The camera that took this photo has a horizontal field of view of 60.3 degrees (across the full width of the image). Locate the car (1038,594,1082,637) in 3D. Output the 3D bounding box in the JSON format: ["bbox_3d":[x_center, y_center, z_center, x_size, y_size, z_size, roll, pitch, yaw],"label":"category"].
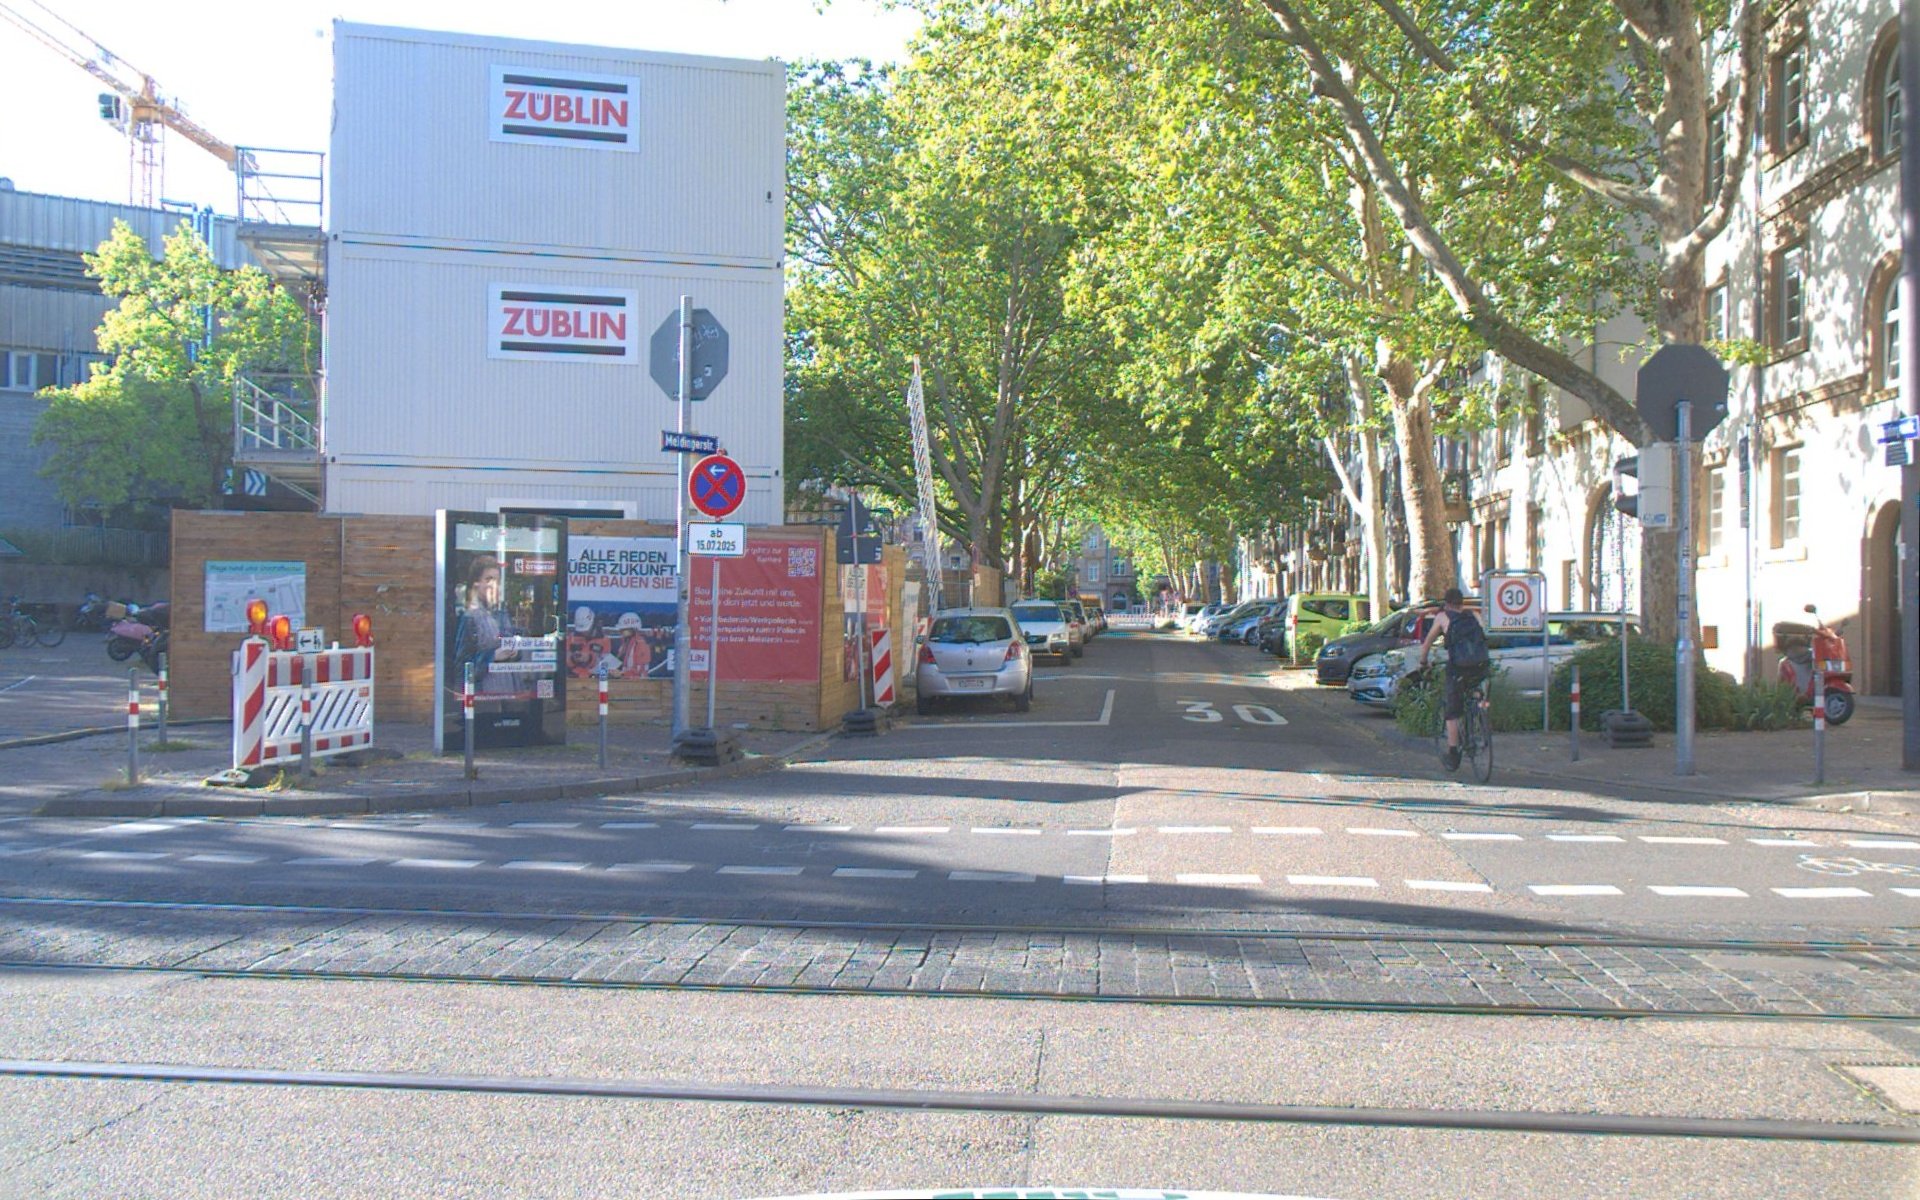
[{"bbox_3d":[3.867,0.582,63.834,1.630,1.590,4.618,0,0,4],"label":"car"}]

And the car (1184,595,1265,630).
[{"bbox_3d":[14.792,0.686,92.616,4.367,1.931,1.729,0,0,4],"label":"car"}]

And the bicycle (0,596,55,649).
[{"bbox_3d":[-22.132,0.489,37.579,3.013,1.167,0.822,0,0,14],"label":"bicycle"}]

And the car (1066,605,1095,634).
[{"bbox_3d":[6.898,1.109,94.871,1.630,1.590,4.221,0,0,4],"label":"car"}]

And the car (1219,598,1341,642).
[{"bbox_3d":[12.084,0.740,62.723,4.367,1.598,1.729,0,0,4],"label":"car"}]

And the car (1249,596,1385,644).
[{"bbox_3d":[12.265,0.688,56.998,4.367,1.598,1.729,0,0,4],"label":"car"}]

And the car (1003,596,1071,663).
[{"bbox_3d":[1.985,0.708,41.680,1.630,1.590,4.002,0,0,4],"label":"car"}]

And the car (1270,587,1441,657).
[{"bbox_3d":[10.900,0.594,45.776,4.368,1.868,1.729,0,0,4],"label":"car"}]

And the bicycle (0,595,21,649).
[{"bbox_3d":[-22.373,0.472,36.631,3.013,1.167,0.822,0,0,14],"label":"bicycle"}]

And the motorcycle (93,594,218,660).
[{"bbox_3d":[-15.918,0.524,32.758,2.183,1.279,0.537,0,1,-33],"label":"motorcycle"}]

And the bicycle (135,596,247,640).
[{"bbox_3d":[-21.469,0.500,46.181,3.013,1.167,0.822,0,0,14],"label":"bicycle"}]

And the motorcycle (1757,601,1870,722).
[{"bbox_3d":[10.048,0.694,19.528,0.503,1.356,1.764,0,0,3],"label":"motorcycle"}]

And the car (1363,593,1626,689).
[{"bbox_3d":[9.835,0.737,30.675,4.367,1.700,1.729,0,0,4],"label":"car"}]

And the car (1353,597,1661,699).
[{"bbox_3d":[8.602,0.739,26.314,4.367,1.527,1.729,0,0,4],"label":"car"}]

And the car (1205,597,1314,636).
[{"bbox_3d":[12.594,0.686,69.800,4.367,1.598,1.729,0,0,4],"label":"car"}]

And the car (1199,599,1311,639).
[{"bbox_3d":[12.002,0.768,67.525,4.367,1.598,1.729,0,0,4],"label":"car"}]

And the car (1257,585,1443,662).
[{"bbox_3d":[9.800,0.589,41.797,4.368,1.868,1.729,0,0,4],"label":"car"}]

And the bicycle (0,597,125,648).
[{"bbox_3d":[-21.599,0.527,39.651,3.013,1.167,0.822,0,0,14],"label":"bicycle"}]

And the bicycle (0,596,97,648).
[{"bbox_3d":[-21.774,0.512,38.729,3.013,1.167,0.822,0,0,14],"label":"bicycle"}]

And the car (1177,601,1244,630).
[{"bbox_3d":[16.989,1.044,112.111,4.367,1.931,1.729,0,0,4],"label":"car"}]

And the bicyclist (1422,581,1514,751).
[{"bbox_3d":[4.785,0.609,15.614,0.662,1.539,0.669,2,0,5],"label":"bicyclist"}]

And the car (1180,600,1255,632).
[{"bbox_3d":[15.542,0.958,100.011,4.367,1.931,1.729,0,0,4],"label":"car"}]

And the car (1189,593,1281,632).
[{"bbox_3d":[13.721,0.623,82.719,4.367,1.931,1.729,0,0,4],"label":"car"}]

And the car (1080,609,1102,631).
[{"bbox_3d":[9.827,1.507,124.351,1.630,1.590,4.221,0,0,4],"label":"car"}]

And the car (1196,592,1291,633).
[{"bbox_3d":[13.639,0.610,79.841,4.367,1.931,1.729,0,0,4],"label":"car"}]

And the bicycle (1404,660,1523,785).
[{"bbox_3d":[4.789,1.132,15.845,0.675,1.034,1.908,2,0,5],"label":"bicycle"}]

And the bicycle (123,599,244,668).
[{"bbox_3d":[-14.735,0.617,31.411,2.024,1.279,0.537,0,1,-33],"label":"bicycle"}]

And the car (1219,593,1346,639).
[{"bbox_3d":[11.723,0.566,60.271,4.367,1.598,1.729,0,0,4],"label":"car"}]

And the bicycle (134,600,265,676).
[{"bbox_3d":[-13.143,0.639,28.626,2.024,1.279,0.466,0,1,-33],"label":"bicycle"}]

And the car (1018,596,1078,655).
[{"bbox_3d":[2.544,0.698,47.187,1.630,1.590,4.521,0,0,4],"label":"car"}]

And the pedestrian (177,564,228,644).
[{"bbox_3d":[-19.736,0.106,43.085,0.783,2.049,0.939,0,0,16],"label":"pedestrian"}]

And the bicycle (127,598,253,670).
[{"bbox_3d":[-13.906,0.599,29.893,2.024,1.279,0.466,0,1,-33],"label":"bicycle"}]

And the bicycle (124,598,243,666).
[{"bbox_3d":[-14.988,0.601,31.947,2.024,1.279,0.537,0,1,-33],"label":"bicycle"}]

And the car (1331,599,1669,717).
[{"bbox_3d":[7.712,0.806,23.930,4.367,1.598,1.729,0,0,4],"label":"car"}]

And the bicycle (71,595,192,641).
[{"bbox_3d":[-21.659,0.462,43.233,3.013,1.167,0.822,0,0,14],"label":"bicycle"}]

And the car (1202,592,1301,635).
[{"bbox_3d":[13.552,0.612,77.067,4.367,1.931,1.729,0,0,4],"label":"car"}]

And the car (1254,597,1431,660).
[{"bbox_3d":[10.081,0.742,43.796,4.367,1.598,1.729,0,0,4],"label":"car"}]

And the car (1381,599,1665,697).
[{"bbox_3d":[9.644,0.796,28.595,4.367,1.598,1.729,0,0,4],"label":"car"}]

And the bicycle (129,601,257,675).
[{"bbox_3d":[-13.644,0.657,29.459,2.024,1.279,0.466,0,1,-33],"label":"bicycle"}]

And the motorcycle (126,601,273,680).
[{"bbox_3d":[-12.693,0.655,27.631,2.183,1.279,0.537,0,1,-33],"label":"motorcycle"}]

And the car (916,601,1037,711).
[{"bbox_3d":[0.331,0.804,25.613,1.609,1.520,4.002,-2,0,4],"label":"car"}]

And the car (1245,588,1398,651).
[{"bbox_3d":[11.057,0.590,50.756,4.368,1.868,1.729,0,0,4],"label":"car"}]

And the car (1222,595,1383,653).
[{"bbox_3d":[9.845,0.683,47.781,4.367,1.598,1.729,0,0,4],"label":"car"}]
